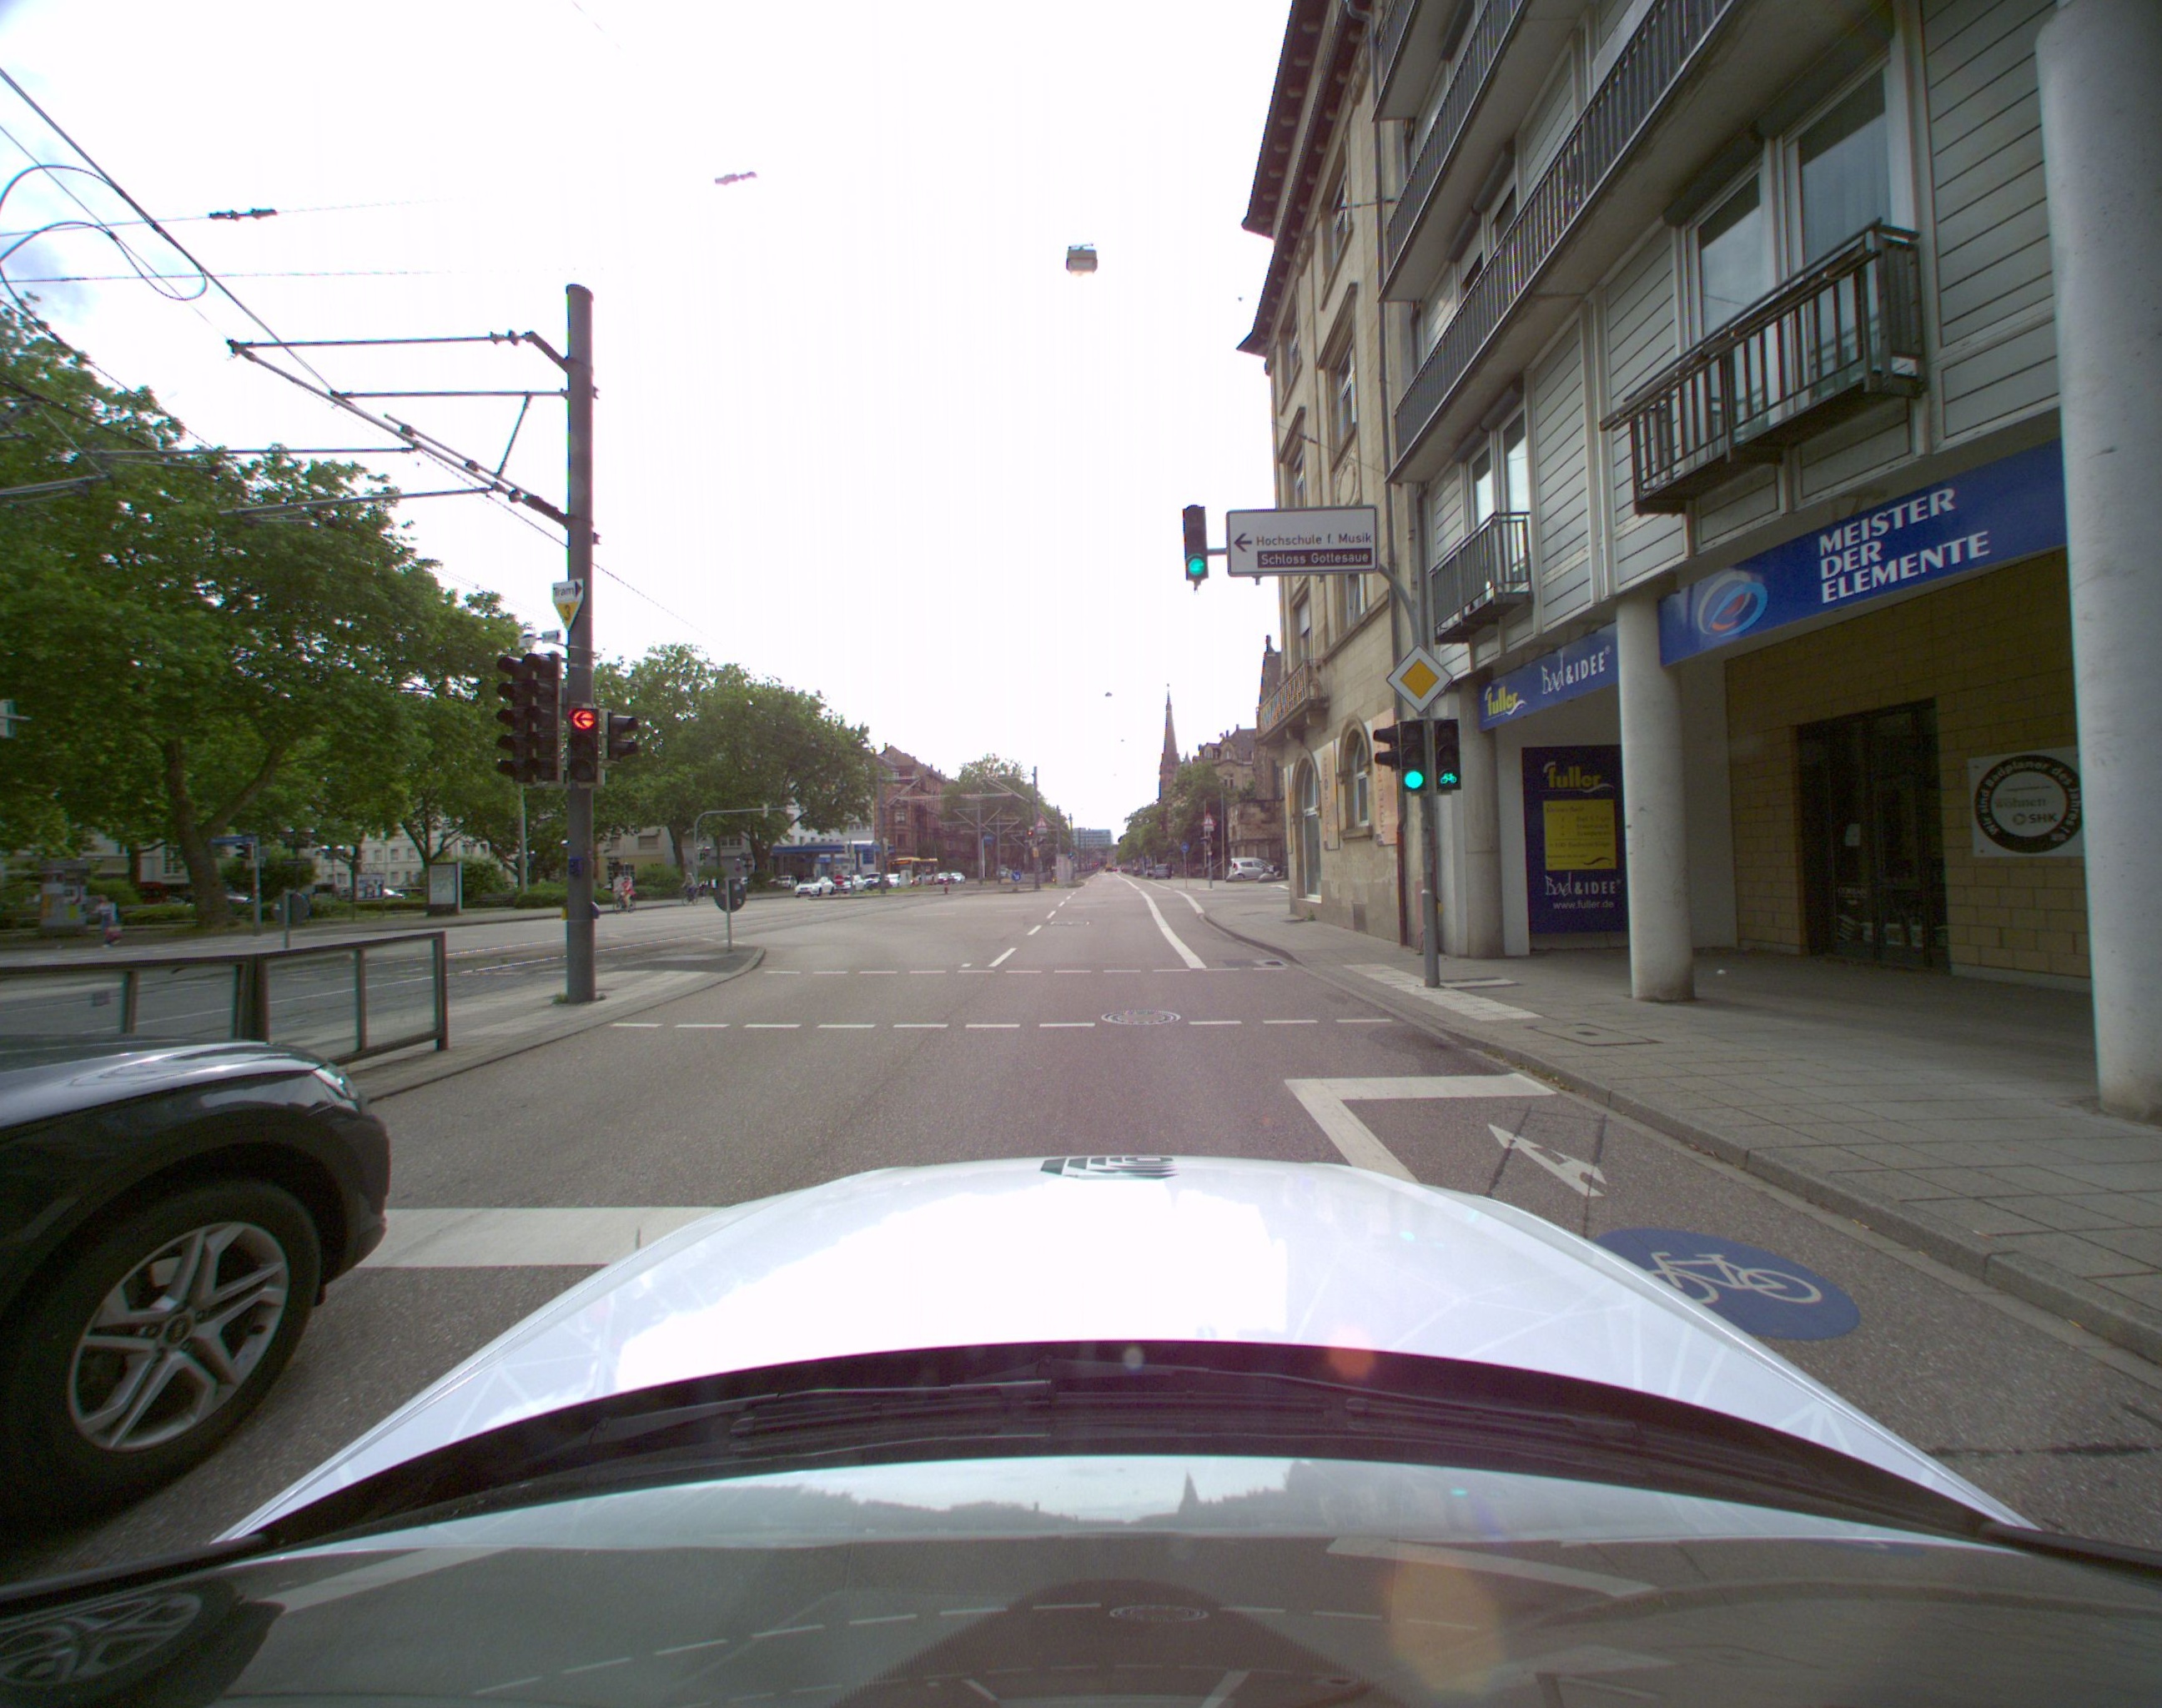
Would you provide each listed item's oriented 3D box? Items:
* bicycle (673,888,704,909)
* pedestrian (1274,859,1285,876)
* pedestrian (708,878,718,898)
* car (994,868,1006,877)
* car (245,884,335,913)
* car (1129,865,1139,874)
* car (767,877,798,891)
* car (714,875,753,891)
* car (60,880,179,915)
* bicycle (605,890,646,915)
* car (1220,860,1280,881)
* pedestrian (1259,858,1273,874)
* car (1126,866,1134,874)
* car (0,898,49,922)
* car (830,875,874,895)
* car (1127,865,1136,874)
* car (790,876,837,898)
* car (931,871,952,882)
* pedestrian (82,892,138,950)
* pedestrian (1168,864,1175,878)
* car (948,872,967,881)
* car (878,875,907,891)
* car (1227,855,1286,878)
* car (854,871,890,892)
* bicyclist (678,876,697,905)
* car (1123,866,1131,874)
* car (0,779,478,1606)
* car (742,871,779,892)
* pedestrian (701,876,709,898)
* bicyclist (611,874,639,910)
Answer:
[{"bbox_3d":[-22.394,2.525,46.495,0.724,1.064,1.993,-3,-1,2],"label":"bicycle"},{"bbox_3d":[14.828,1.018,60.921,0.731,1.228,1.067,-1,-1,16],"label":"pedestrian"},{"bbox_3d":[-25.480,2.354,56.425,0.454,1.326,0.469,-1,-1,-5],"label":"pedestrian"},{"bbox_3d":[-14.787,3.343,149.306,1.695,1.712,3.892,0,-1,2],"label":"car"},{"bbox_3d":[-64.603,3.616,66.588,4.825,2.101,2.072,-2,-1,-15],"label":"car"},{"bbox_3d":[11.239,3.318,171.784,1.986,1.882,4.001,-2,-1,2],"label":"car"},{"bbox_3d":[-29.645,2.949,80.857,1.696,1.358,3.406,0,-1,2],"label":"car"},{"bbox_3d":[-34.834,2.876,81.764,1.986,1.466,4.001,-2,-1,2],"label":"car"},{"bbox_3d":[-64.794,2.897,55.006,4.825,2.101,2.072,-2,-1,-15],"label":"car"},{"bbox_3d":[-21.918,2.332,39.227,0.724,1.064,1.993,-3,-1,1],"label":"bicycle"},{"bbox_3d":[13.251,1.290,63.981,4.332,1.636,1.663,0,-1,1],"label":"car"},{"bbox_3d":[13.679,0.905,60.149,0.734,1.192,1.494,0,-1,2],"label":"pedestrian"},{"bbox_3d":[12.691,4.096,209.940,1.987,1.926,4.000,0,-1,1],"label":"car"},{"bbox_3d":[-66.443,3.459,49.139,4.825,1.389,2.072,-2,-1,-15],"label":"car"},{"bbox_3d":[-18.543,2.473,66.205,1.834,1.526,5.704,0,-1,2],"label":"car"},{"bbox_3d":[11.753,3.664,190.109,1.987,2.014,4.000,0,-1,1],"label":"car"},{"bbox_3d":[-19.281,2.385,58.881,1.835,1.448,4.415,0,-1,2],"label":"car"},{"bbox_3d":[-17.510,2.808,102.349,1.695,1.358,3.892,0,-1,2],"label":"car"},{"bbox_3d":[-30.091,2.063,25.241,0.802,1.690,0.755,-2,-1,-3],"label":"pedestrian"},{"bbox_3d":[10.836,2.051,97.689,0.772,1.647,0.800,0,-1,8],"label":"pedestrian"},{"bbox_3d":[-16.584,3.022,109.564,1.695,1.221,3.892,0,-1,2],"label":"car"},{"bbox_3d":[-18.284,2.813,79.038,1.695,1.398,3.892,0,-1,2],"label":"car"},{"bbox_3d":[14.514,1.063,67.483,4.593,1.881,1.663,0,-1,1],"label":"car"},{"bbox_3d":[-18.631,2.458,72.907,1.695,1.783,5.152,0,-1,2],"label":"car"},{"bbox_3d":[-22.406,2.075,46.358,0.581,1.562,0.757,-4,-1,2],"label":"bicyclist"},{"bbox_3d":[12.300,4.235,217.513,1.987,2.014,4.000,0,-1,1],"label":"car"},{"bbox_3d":[-3.140,0.665,0.675,1.904,1.647,4.369,0,-1,2],"label":"car"},{"bbox_3d":[-32.048,2.709,81.531,1.986,2.014,4.001,-2,-1,2],"label":"car"},{"bbox_3d":[-26.015,2.287,56.383,0.360,1.479,0.373,-1,-1,-5],"label":"pedestrian"},{"bbox_3d":[-21.971,1.820,39.236,0.703,1.637,0.994,-3,-1,1],"label":"bicyclist"}]
